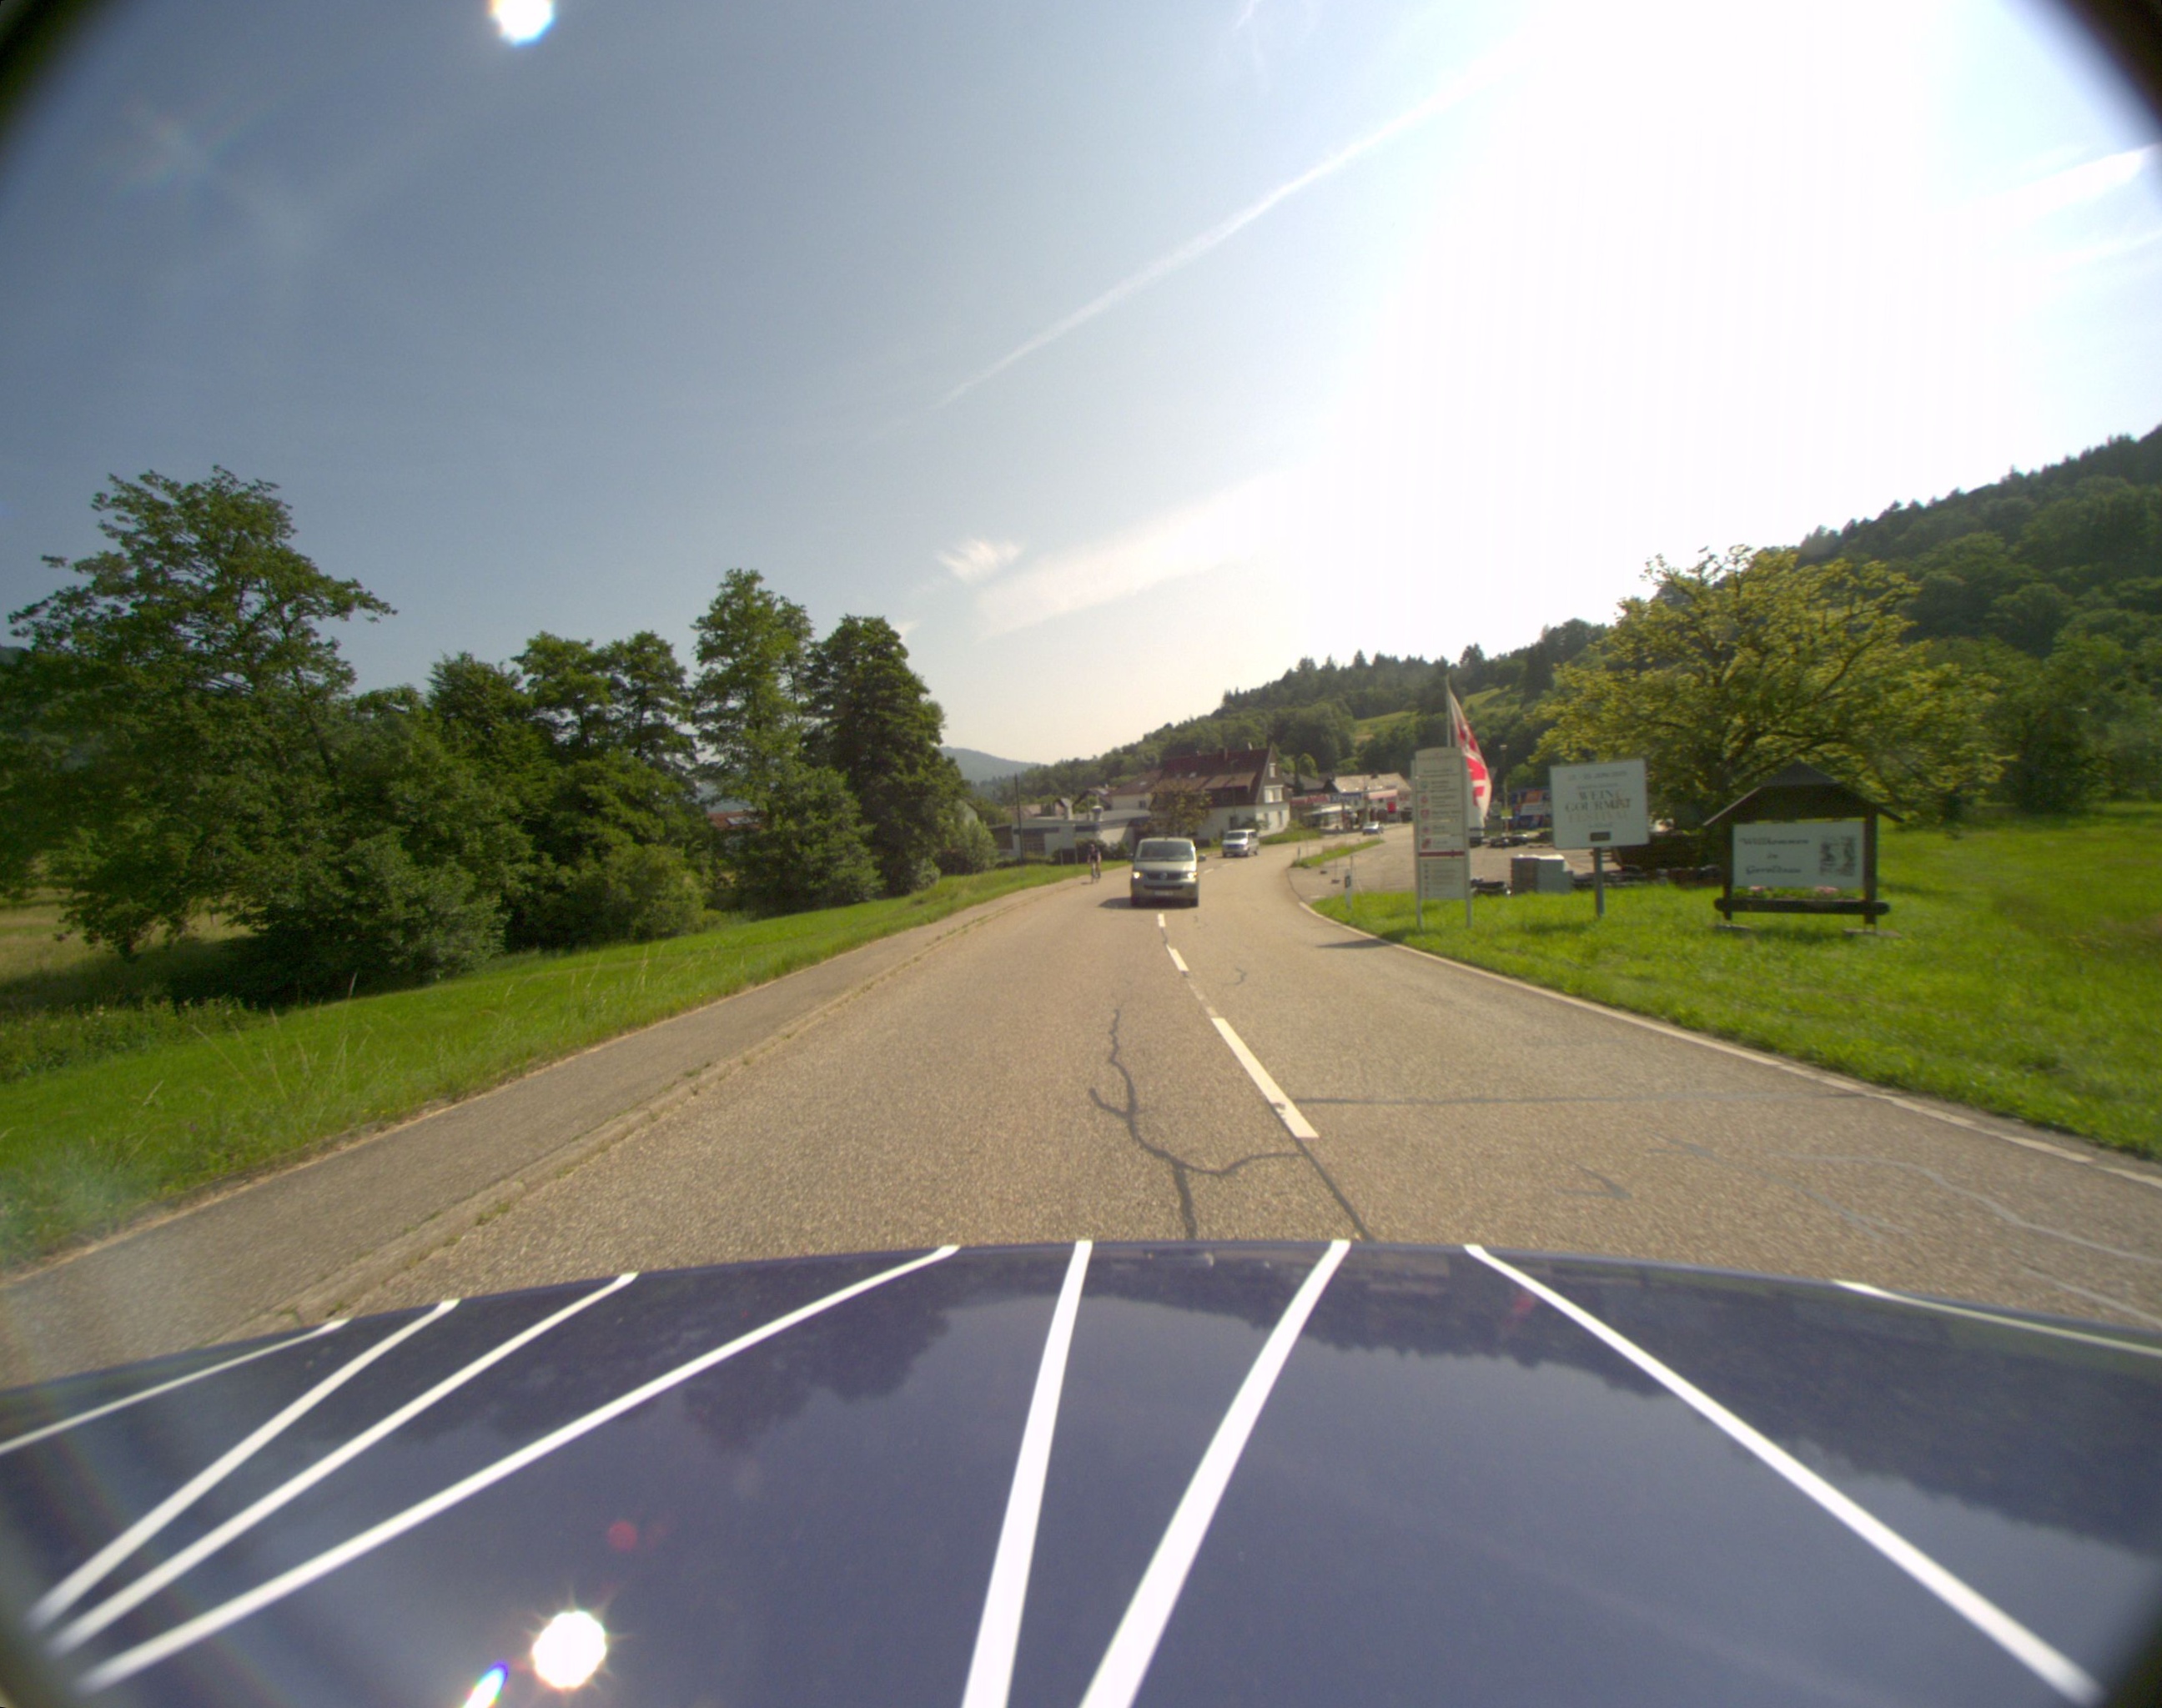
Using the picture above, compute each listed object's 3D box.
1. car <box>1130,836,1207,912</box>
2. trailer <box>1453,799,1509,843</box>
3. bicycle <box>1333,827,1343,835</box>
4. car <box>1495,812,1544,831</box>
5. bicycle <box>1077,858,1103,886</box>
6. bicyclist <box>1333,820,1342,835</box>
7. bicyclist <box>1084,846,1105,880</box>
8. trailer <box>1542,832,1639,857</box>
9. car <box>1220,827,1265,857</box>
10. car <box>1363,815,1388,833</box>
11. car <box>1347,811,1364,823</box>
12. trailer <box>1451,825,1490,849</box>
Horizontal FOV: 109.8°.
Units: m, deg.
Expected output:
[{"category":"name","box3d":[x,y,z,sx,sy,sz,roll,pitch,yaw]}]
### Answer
[{"category":"car","box3d":[2.564,0.473,22.761,2.023,1.971,5.049,0,2,5]},{"category":"trailer","box3d":[29.108,-2.414,55.343,3.394,2.896,1.886,-3,2,28]},{"category":"bicycle","box3d":[30.034,-2.682,88.819,0.689,0.912,1.953,-5,0,29]},{"category":"car","box3d":[43.197,-3.191,74.827,4.914,1.639,1.832,-4,2,-27]},{"category":"bicycle","box3d":[0.387,0.731,31.312,0.580,1.029,1.992,1,3,16]},{"category":"bicyclist","box3d":[30.079,-3.084,88.981,0.689,1.623,1.142,-4,0,29]},{"category":"bicyclist","box3d":[0.545,0.360,31.406,0.580,1.335,1.146,1,3,16]},{"category":"trailer","box3d":[25.526,-0.463,38.173,3.935,0.934,1.870,-3,3,33]},{"category":"car","box3d":[11.799,-0.915,55.321,1.892,1.847,4.709,-2,3,29]},{"category":"car","box3d":[34.509,-3.478,88.857,1.764,1.736,3.985,-2,4,35]},{"category":"car","box3d":[45.859,-6.194,126.770,1.681,1.806,4.005,-3,3,34]},{"category":"trailer","box3d":[26.236,-1.199,51.052,1.995,1.220,5.553,-3,2,30]}]
